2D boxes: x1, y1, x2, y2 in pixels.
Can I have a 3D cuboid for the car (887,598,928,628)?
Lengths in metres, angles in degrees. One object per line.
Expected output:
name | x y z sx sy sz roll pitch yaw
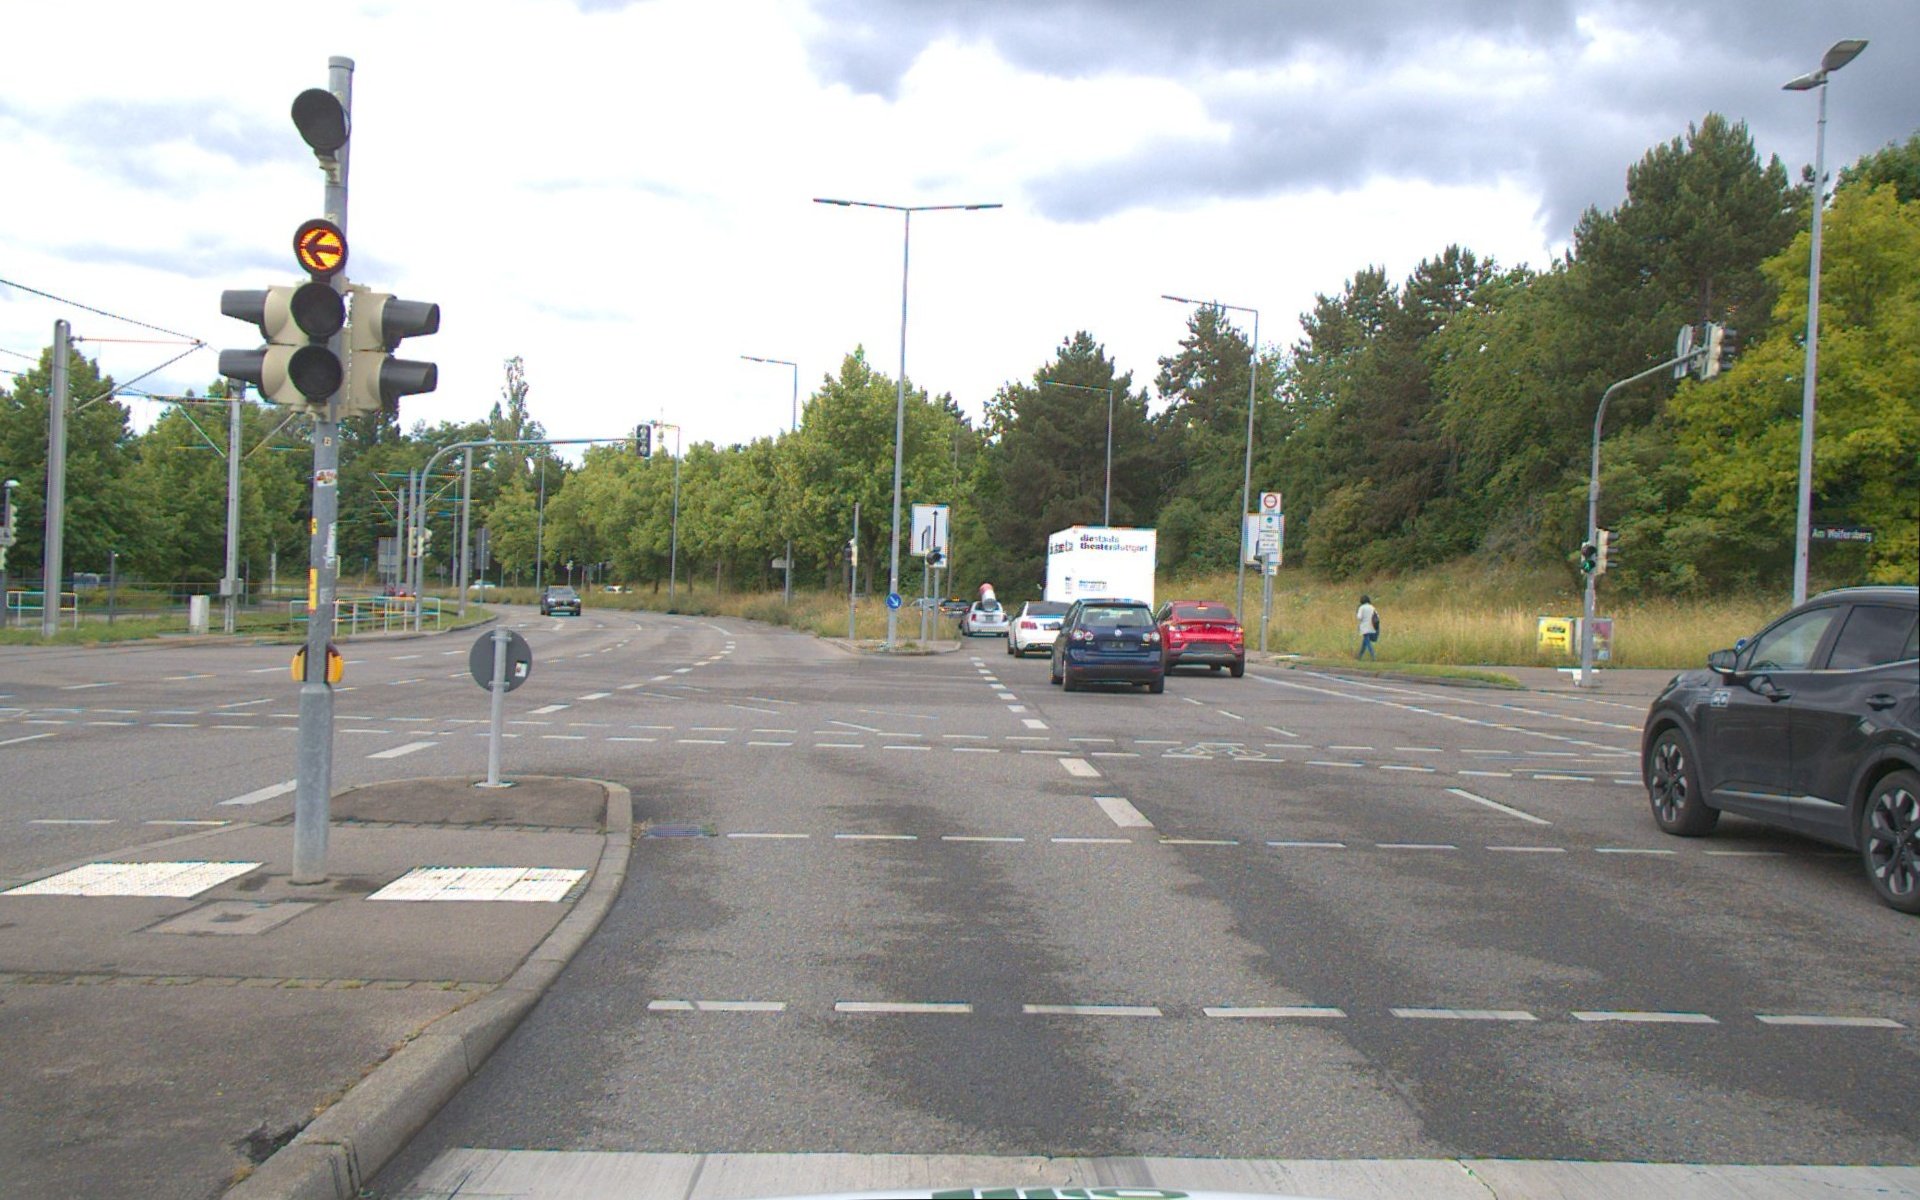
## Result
car | -2.871 0.697 89.815 1.556 1.519 3.431 1 0 -14

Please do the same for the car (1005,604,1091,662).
car | 2.264 0.833 43.536 1.764 1.436 4.314 1 0 -4

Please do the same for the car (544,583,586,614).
car | -21.558 -0.073 90.162 1.769 1.615 3.975 1 0 -21

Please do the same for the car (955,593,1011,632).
car | 0.911 0.513 68.088 1.787 1.532 3.488 1 0 -8

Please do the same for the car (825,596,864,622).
car | -7.307 0.543 104.374 1.717 1.534 4.032 1 0 -15

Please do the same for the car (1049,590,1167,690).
car | 2.550 0.673 29.267 1.631 1.626 3.995 1 0 -1

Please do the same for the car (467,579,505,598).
car | -44.793 -1.048 156.277 3.735 1.741 1.623 1 -1 41

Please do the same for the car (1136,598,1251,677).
car | 5.032 0.762 36.121 1.809 1.556 4.376 1 0 -1

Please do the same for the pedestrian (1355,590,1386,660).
pedestrian | 10.156 0.615 40.935 0.630 1.691 0.714 1 -1 6

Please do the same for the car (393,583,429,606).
car | -45.685 -0.437 137.595 1.855 1.823 3.953 1 0 -34

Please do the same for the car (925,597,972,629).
car | -0.586 0.631 81.687 1.595 1.519 3.827 1 0 -11

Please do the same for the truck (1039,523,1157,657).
truck | 4.376 -0.359 54.555 2.746 3.971 10.179 1 1 -1

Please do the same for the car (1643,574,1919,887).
car | 5.657 0.671 9.398 1.757 1.557 4.217 1 0 -1
